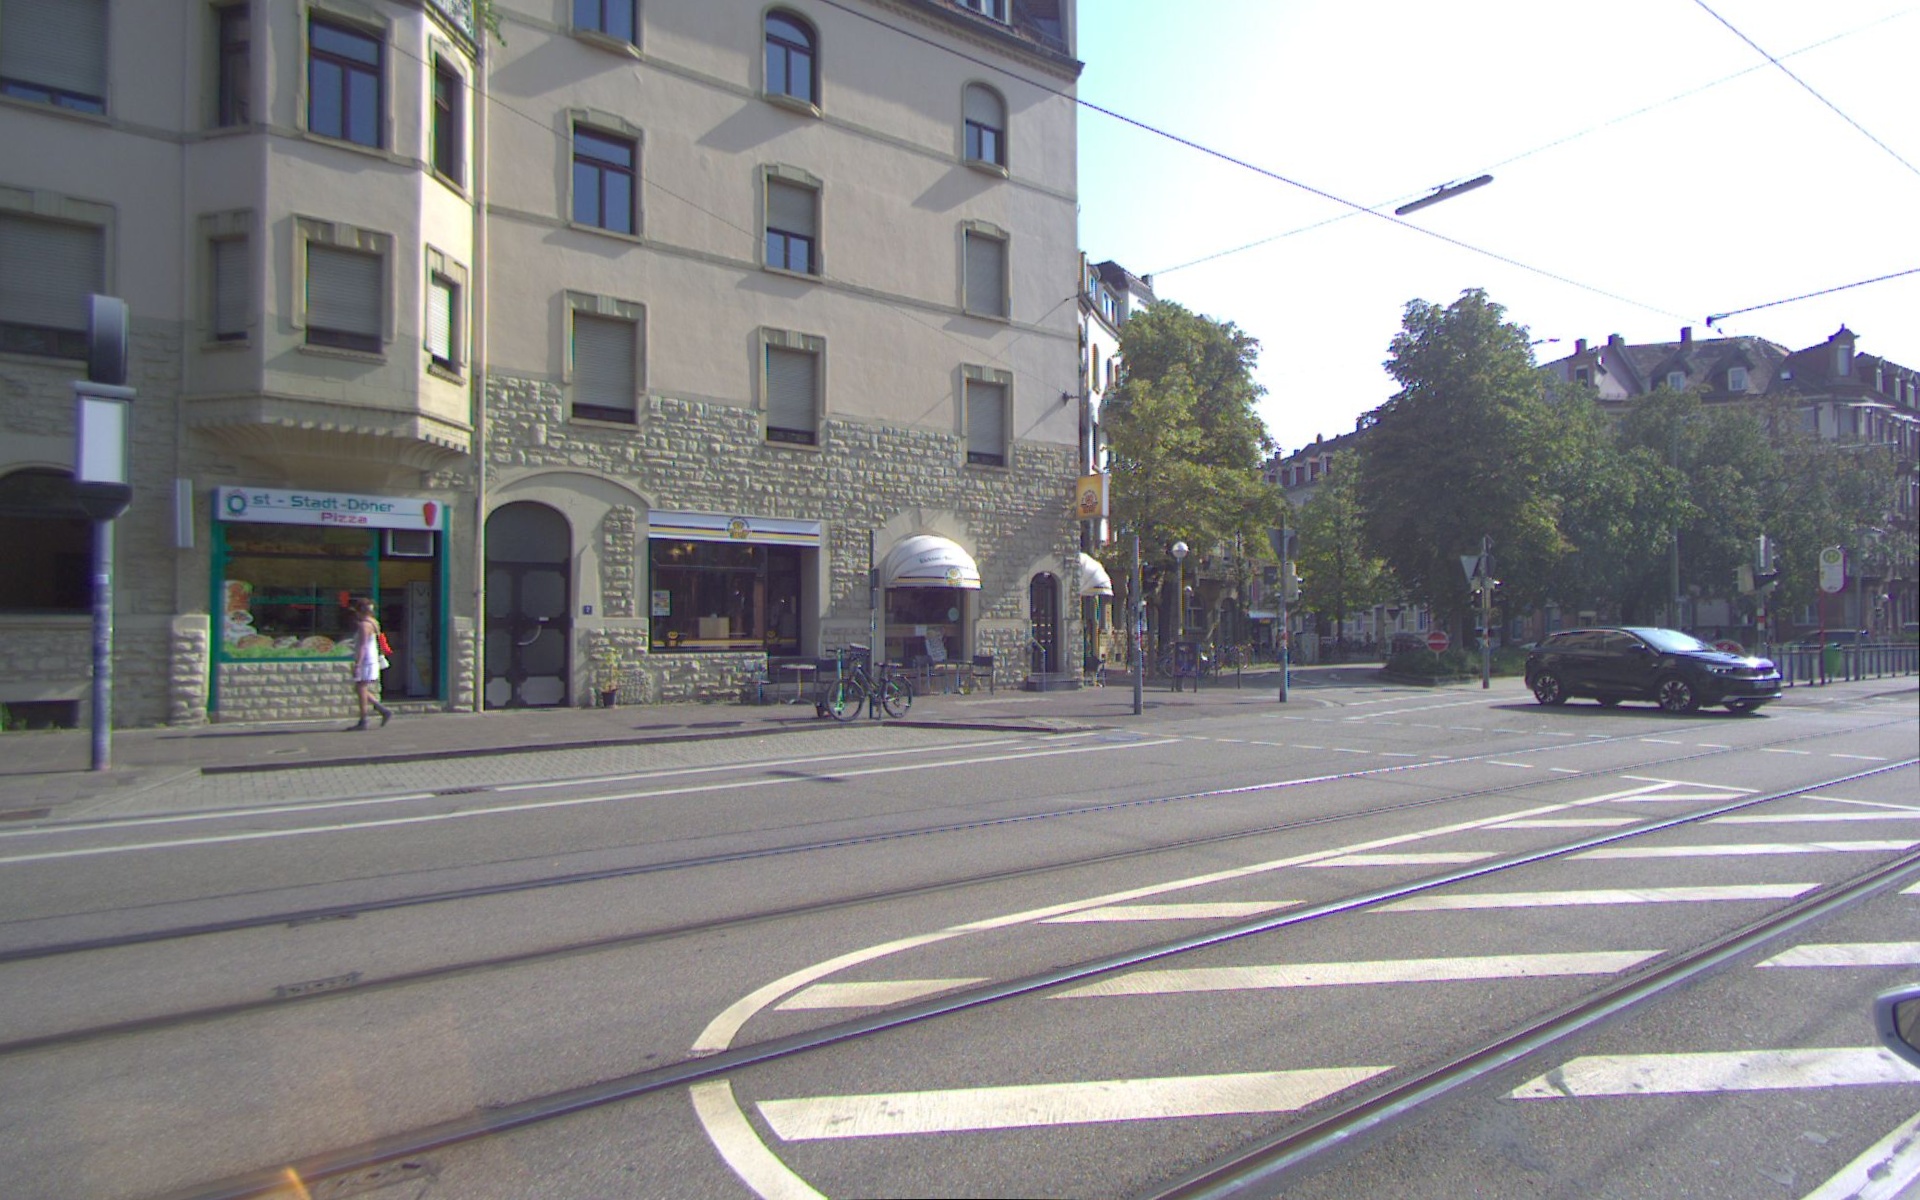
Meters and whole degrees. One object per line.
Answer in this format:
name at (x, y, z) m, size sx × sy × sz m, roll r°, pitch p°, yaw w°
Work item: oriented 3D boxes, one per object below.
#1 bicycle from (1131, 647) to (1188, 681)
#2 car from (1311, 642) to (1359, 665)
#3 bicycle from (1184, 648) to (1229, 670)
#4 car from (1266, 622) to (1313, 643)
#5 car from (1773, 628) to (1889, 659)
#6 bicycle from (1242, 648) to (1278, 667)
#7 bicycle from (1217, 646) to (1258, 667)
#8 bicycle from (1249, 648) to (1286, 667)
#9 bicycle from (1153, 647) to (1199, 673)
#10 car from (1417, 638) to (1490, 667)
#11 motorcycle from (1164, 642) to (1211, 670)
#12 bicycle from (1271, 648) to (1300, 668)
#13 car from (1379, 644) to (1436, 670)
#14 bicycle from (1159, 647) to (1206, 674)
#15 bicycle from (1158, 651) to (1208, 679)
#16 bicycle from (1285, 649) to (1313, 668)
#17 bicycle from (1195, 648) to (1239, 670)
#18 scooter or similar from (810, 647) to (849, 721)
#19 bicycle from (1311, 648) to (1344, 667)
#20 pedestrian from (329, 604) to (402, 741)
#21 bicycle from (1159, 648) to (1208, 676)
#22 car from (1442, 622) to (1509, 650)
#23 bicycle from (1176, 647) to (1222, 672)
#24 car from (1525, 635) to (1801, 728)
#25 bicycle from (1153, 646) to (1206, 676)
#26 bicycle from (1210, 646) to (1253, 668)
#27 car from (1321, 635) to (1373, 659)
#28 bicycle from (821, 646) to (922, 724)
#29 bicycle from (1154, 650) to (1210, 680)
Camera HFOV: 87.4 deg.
bicycle at (6.803, 2.177, 34.249) m, size 1.846 × 1.127 × 0.569 m, roll 1°, pitch -2°, yaw -13°
car at (31.574, 4.466, 84.595) m, size 1.965 × 1.852 × 3.992 m, roll 0°, pitch -2°, yaw -12°
bicycle at (10.961, 2.603, 44.687) m, size 1.875 × 0.947 × 0.738 m, roll 0°, pitch -2°, yaw 23°
car at (29.911, 2.924, 91.338) m, size 1.970 × 1.852 × 3.982 m, roll 0°, pitch -2°, yaw -20°
car at (46.671, 2.321, 53.944) m, size 4.251 × 1.589 × 2.000 m, roll -1°, pitch -2°, yaw 20°
bicycle at (15.652, 3.009, 52.386) m, size 1.741 × 0.990 × 0.518 m, roll -2°, pitch -2°, yaw 35°
bicycle at (13.376, 2.723, 48.454) m, size 1.849 × 0.947 × 0.636 m, roll -1°, pitch -3°, yaw 39°
bicycle at (16.215, 3.021, 52.931) m, size 1.740 × 0.990 × 0.603 m, roll -2°, pitch -2°, yaw 34°
bicycle at (8.634, 2.387, 40.127) m, size 1.768 × 0.989 × 0.661 m, roll 0°, pitch -2°, yaw 16°
car at (32.053, 3.383, 65.313) m, size 1.970 × 1.852 × 3.981 m, roll 0°, pitch -2°, yaw -21°
motorcycle at (9.673, 2.382, 42.711) m, size 1.839 × 1.169 × 0.607 m, roll 0°, pitch -2°, yaw 23°
bicycle at (16.827, 3.005, 51.859) m, size 1.752 × 0.990 × 0.422 m, roll 1°, pitch -2°, yaw -35°
car at (33.475, 4.262, 75.300) m, size 1.965 × 1.852 × 3.992 m, roll 0°, pitch -2°, yaw -12°
bicycle at (8.675, 2.345, 39.113) m, size 1.768 × 0.996 × 0.661 m, roll 0°, pitch -2°, yaw 16°
bicycle at (7.462, 2.168, 33.625) m, size 1.578 × 0.932 × 0.479 m, roll 1°, pitch -2°, yaw -3°
bicycle at (17.505, 3.011, 51.876) m, size 1.752 × 0.990 × 0.422 m, roll 1°, pitch -2°, yaw -35°
bicycle at (11.778, 2.690, 45.983) m, size 1.864 × 0.993 × 0.686 m, roll 0°, pitch -2°, yaw 23°
scooter or similar at (-2.226, 1.420, 17.232) m, size 0.359 × 1.213 × 1.035 m, roll 0°, pitch -2°, yaw 10°
bicycle at (19.866, 3.087, 54.275) m, size 0.597 × 0.990 × 1.759 m, roll 1°, pitch -2°, yaw -26°
pedestrian at (-8.578, 1.025, 14.483) m, size 0.822 × 1.884 × 0.768 m, roll 1°, pitch -2°, yaw -36°
bicycle at (8.453, 2.326, 37.919) m, size 1.768 × 0.997 × 0.570 m, roll 0°, pitch -2°, yaw 16°
car at (34.817, 2.417, 67.975) m, size 1.965 × 1.852 × 3.992 m, roll 0°, pitch -2°, yaw -12°
bicycle at (10.366, 2.571, 43.555) m, size 1.842 × 1.041 × 0.664 m, roll 0°, pitch -2°, yaw 23°
car at (13.127, 1.450, 19.119) m, size 1.586 × 1.535 × 4.213 m, roll -1°, pitch -2°, yaw -17°
bicycle at (7.995, 2.226, 36.554) m, size 1.841 × 1.047 × 0.570 m, roll 0°, pitch -2°, yaw 18°
bicycle at (12.703, 2.659, 47.042) m, size 1.864 × 0.993 × 0.686 m, roll 0°, pitch -2°, yaw 23°
car at (30.315, 3.667, 78.770) m, size 1.965 × 1.852 × 3.992 m, roll 0°, pitch -2°, yaw -12°
bicycle at (-1.478, 1.417, 17.050) m, size 1.844 × 1.242 × 0.449 m, roll 2°, pitch -3°, yaw -44°
bicycle at (7.729, 2.253, 35.079) m, size 1.841 × 1.017 × 0.570 m, roll 0°, pitch -2°, yaw 3°
